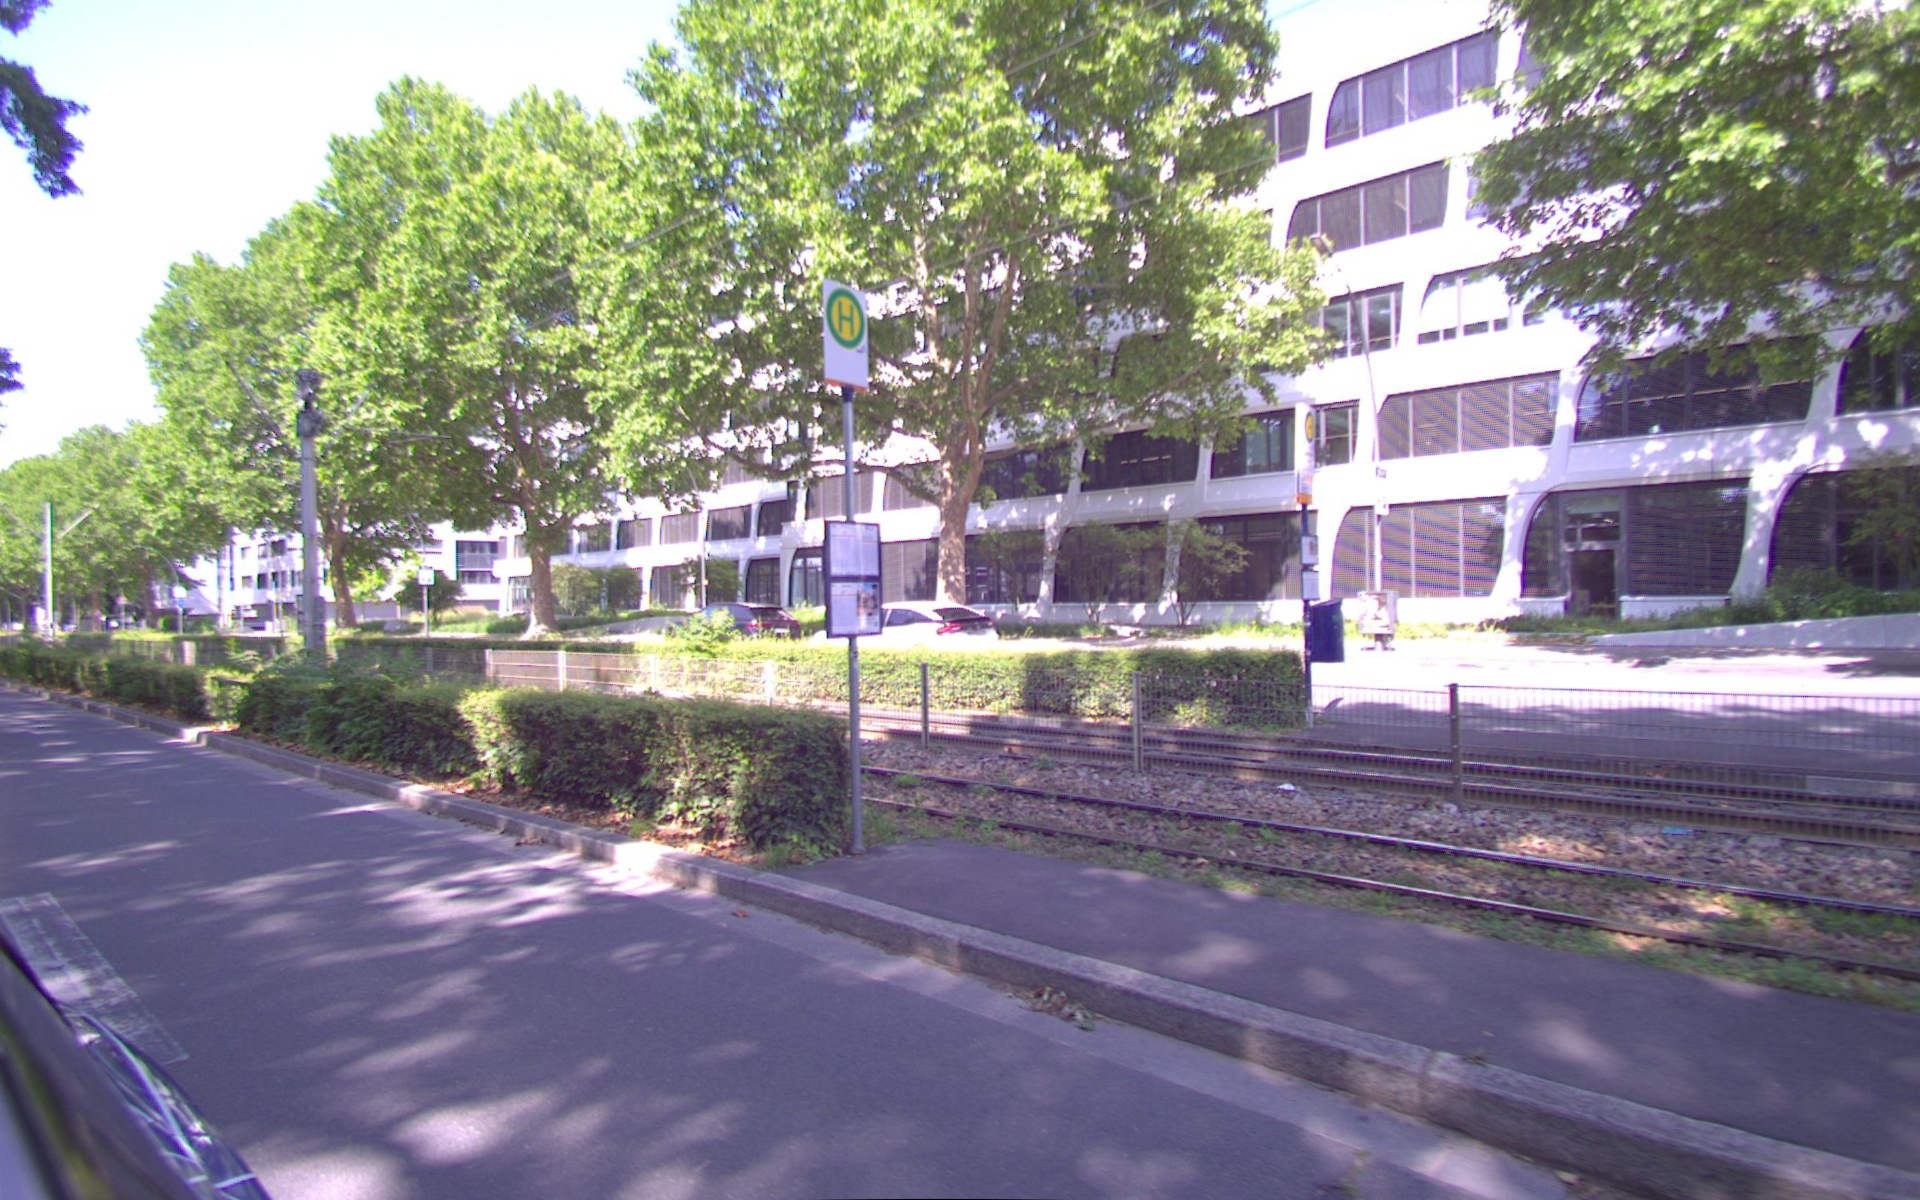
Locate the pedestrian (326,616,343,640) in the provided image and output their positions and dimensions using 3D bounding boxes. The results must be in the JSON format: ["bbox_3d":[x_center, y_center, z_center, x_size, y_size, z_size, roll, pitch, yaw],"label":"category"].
[{"bbox_3d":[-44.054,1.966,71.308,1.014,1.600,0.712,-2,0,42],"label":"pedestrian"}]

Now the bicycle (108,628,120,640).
[{"bbox_3d":[-84.375,3.353,100.951,2.030,1.132,0.657,-2,0,42],"label":"bicycle"}]

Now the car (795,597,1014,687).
[{"bbox_3d":[-1.183,0.787,20.034,4.302,1.574,1.792,-2,0,41],"label":"car"}]

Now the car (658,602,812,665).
[{"bbox_3d":[-6.600,0.944,29.385,4.894,1.636,1.811,-2,0,41],"label":"car"}]
